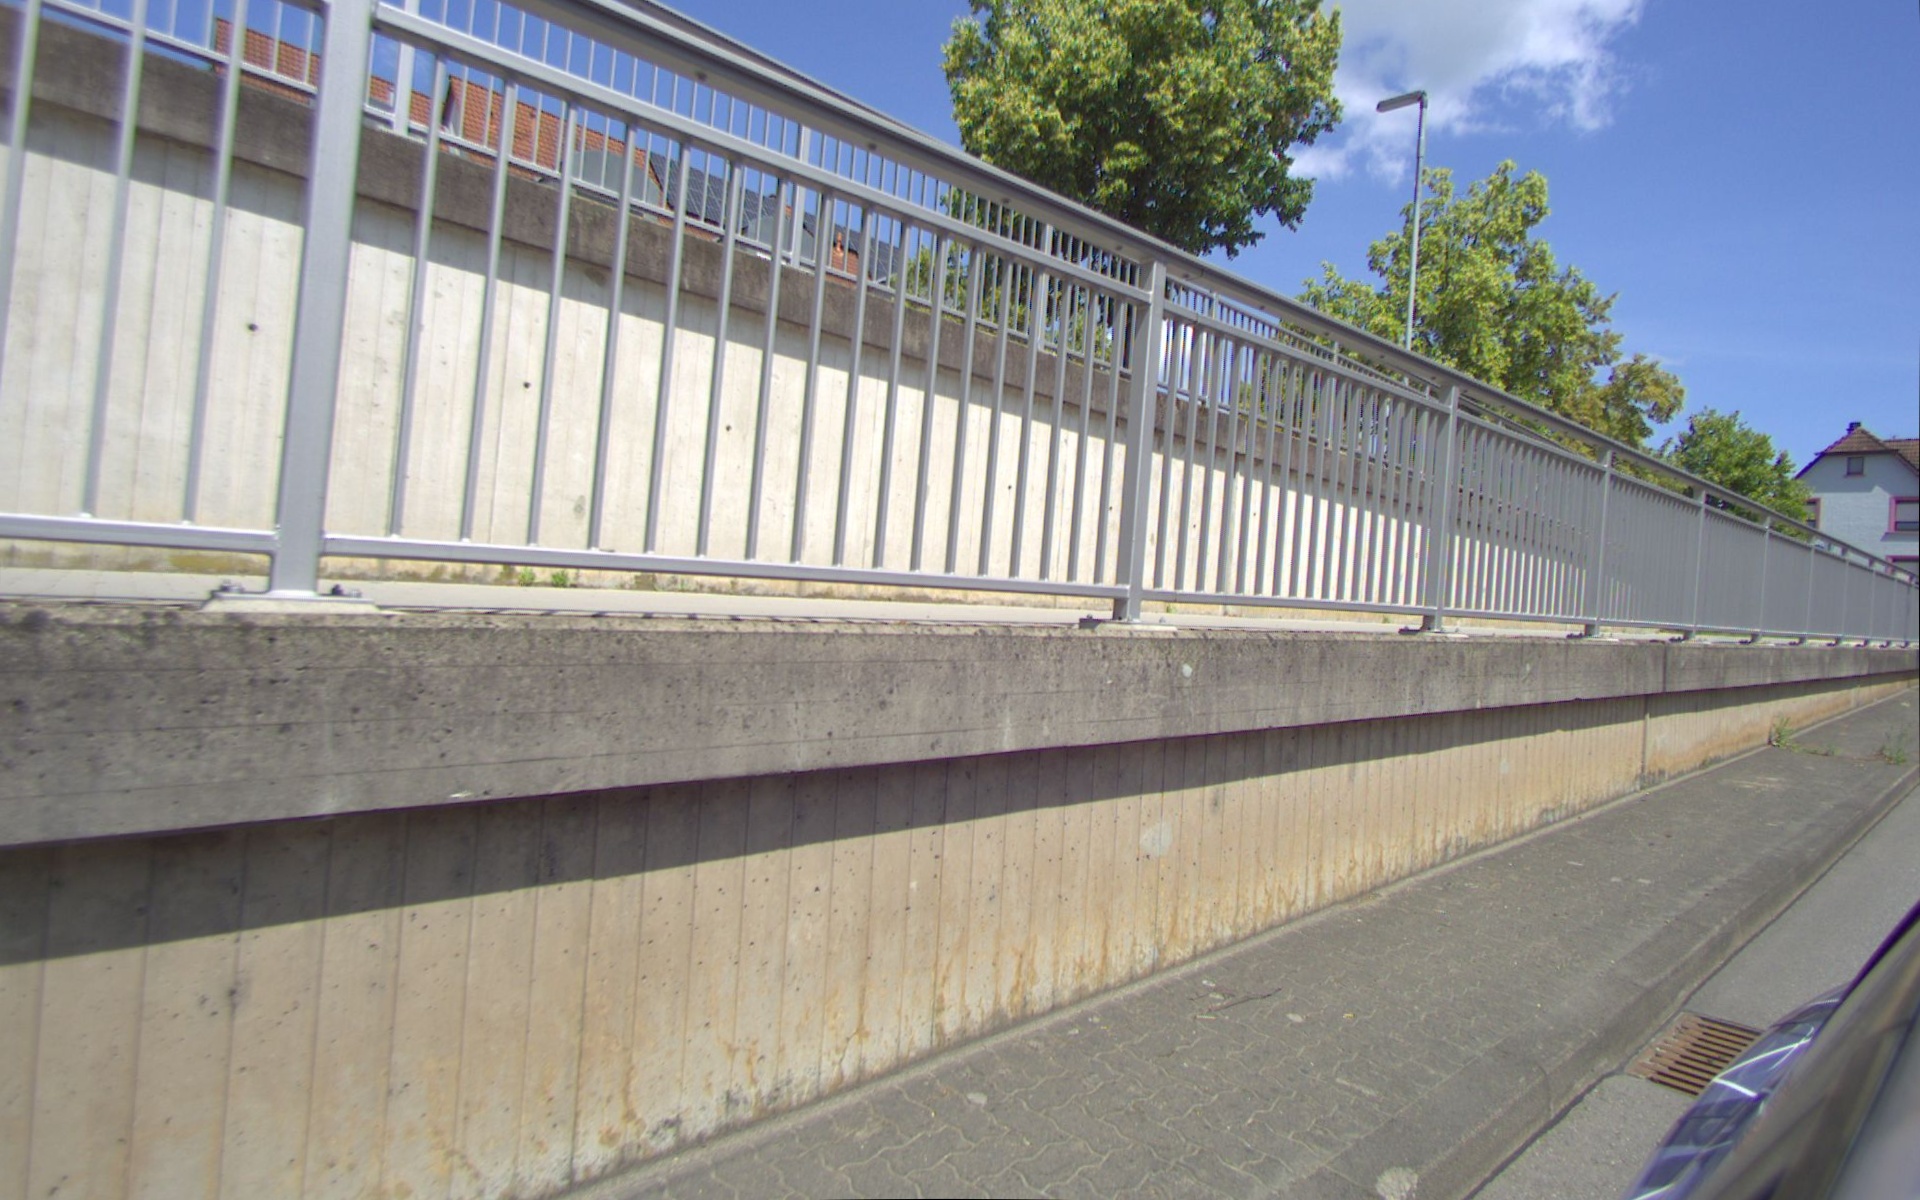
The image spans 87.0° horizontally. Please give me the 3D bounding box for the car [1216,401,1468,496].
[{"bbox_3d":[6.980,-2.723,18.815,1.741,1.323,3.997,2,2,-40],"label":"car"}]
